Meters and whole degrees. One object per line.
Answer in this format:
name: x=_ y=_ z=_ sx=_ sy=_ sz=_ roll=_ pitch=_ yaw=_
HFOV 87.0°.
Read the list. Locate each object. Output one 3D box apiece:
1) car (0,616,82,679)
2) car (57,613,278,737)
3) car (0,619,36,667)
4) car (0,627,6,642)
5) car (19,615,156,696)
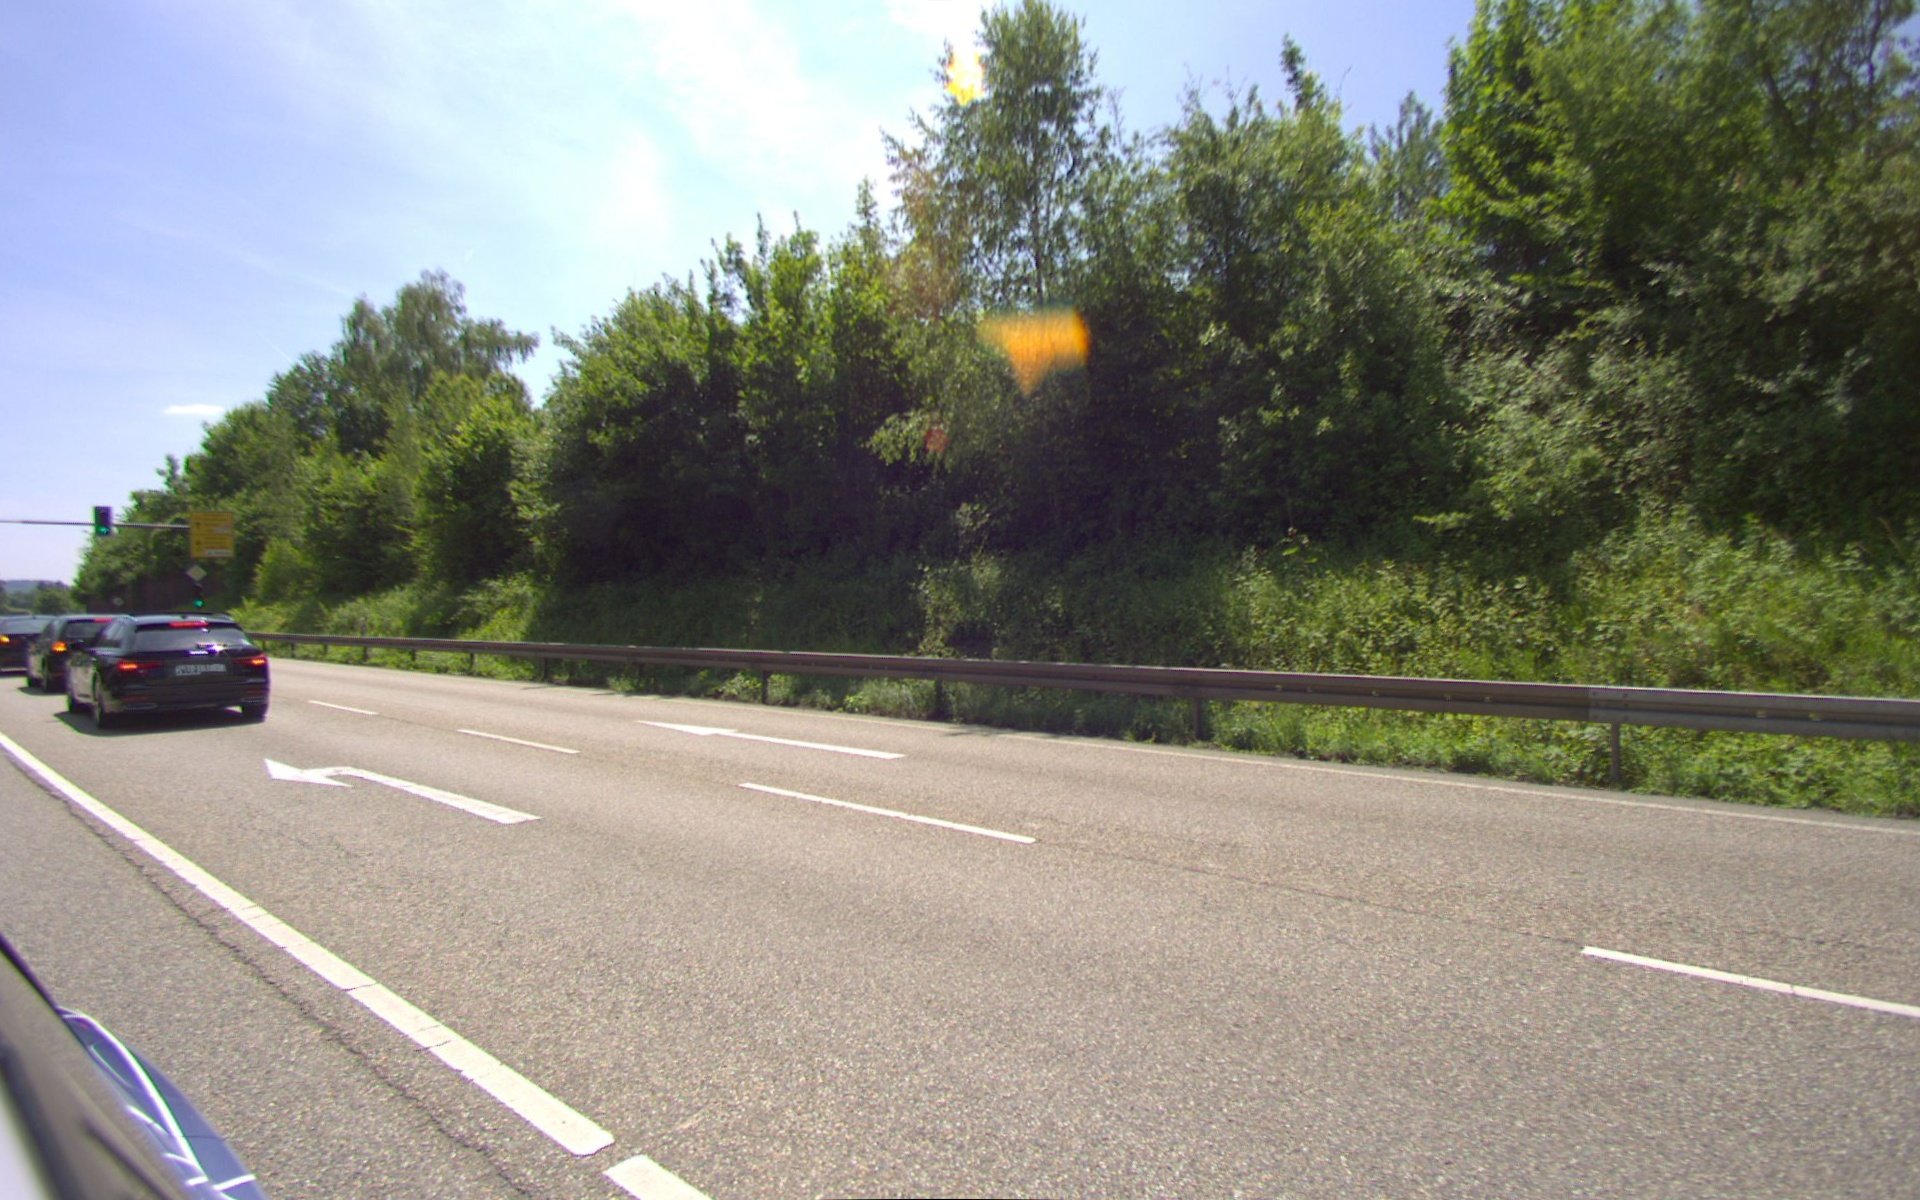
car: x=-24.007 y=1.187 z=25.860 sx=4.638 sy=1.458 sz=1.763 roll=-2 pitch=-1 yaw=41
car: x=-11.300 y=0.937 z=14.311 sx=4.386 sy=1.464 sz=1.785 roll=-1 pitch=0 yaw=43
car: x=-30.470 y=1.350 z=32.002 sx=3.770 sy=1.451 sz=1.549 roll=-2 pitch=-1 yaw=43
car: x=-119.586 y=4.285 z=125.309 sx=1.970 sy=1.780 sz=4.004 roll=-2 pitch=0 yaw=-43
car: x=-17.384 y=1.041 z=20.093 sx=4.182 sy=1.425 sz=1.663 roll=-2 pitch=-1 yaw=43
